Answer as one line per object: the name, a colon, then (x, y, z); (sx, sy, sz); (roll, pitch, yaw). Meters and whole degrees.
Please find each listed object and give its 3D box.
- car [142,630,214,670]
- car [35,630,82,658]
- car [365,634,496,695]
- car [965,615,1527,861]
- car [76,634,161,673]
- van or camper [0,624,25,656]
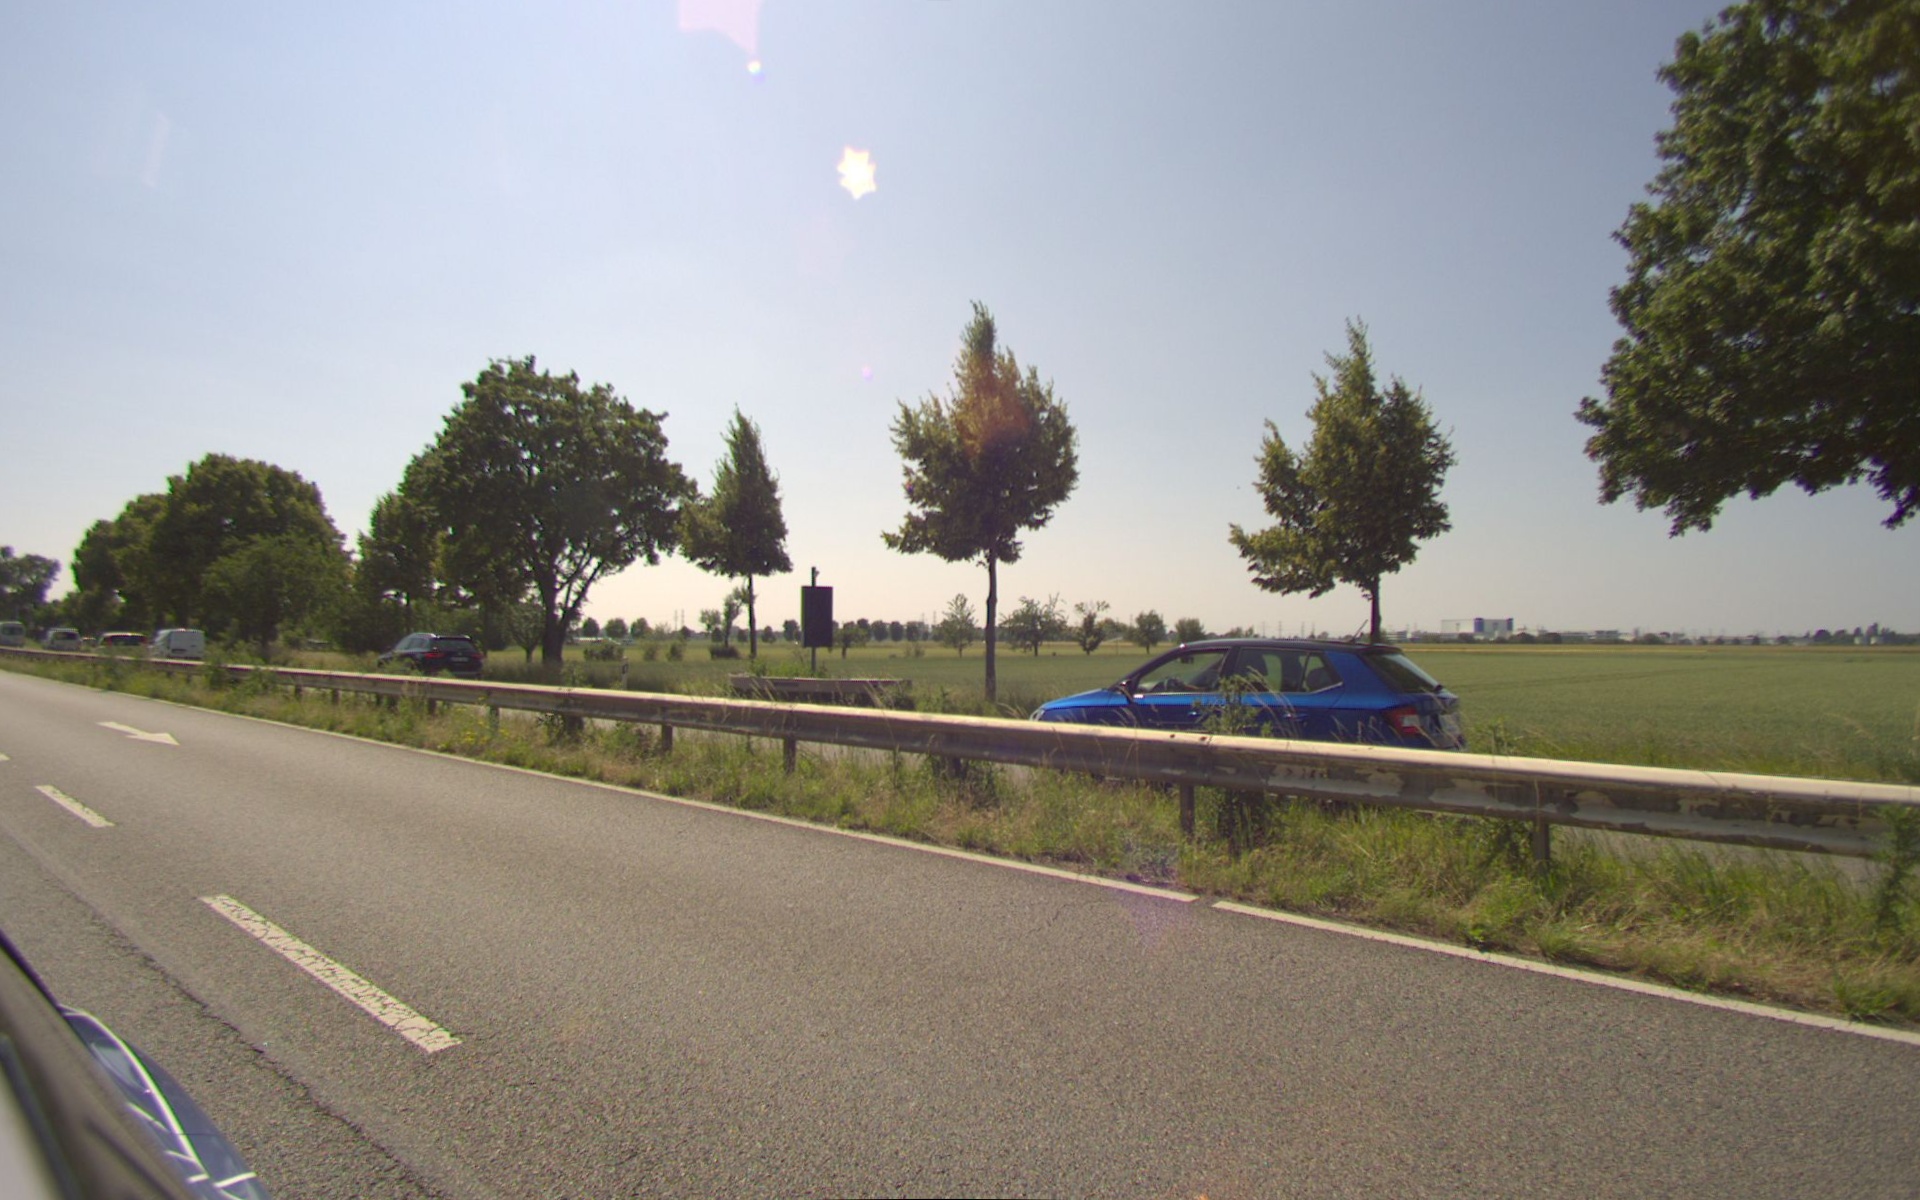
car: (-40.315, 2.550, 52.130); (4.924, 1.975, 1.973); (-2, -3, 40)
car: (-67.057, 3.270, 75.265); (4.529, 2.029, 2.017); (-2, -3, 40)
car: (-15.966, 1.867, 30.434); (4.477, 1.675, 1.973); (-2, -2, 40)
car: (2.380, 1.017, 9.136); (4.477, 1.675, 1.973); (-2, -3, 40)
car: (-35.415, 2.201, 42.563); (4.477, 1.569, 1.973); (-2, -3, 40)
van or camper: (-92.975, 3.903, 98.343); (7.088, 2.971, 2.360); (-2, -3, 41)
